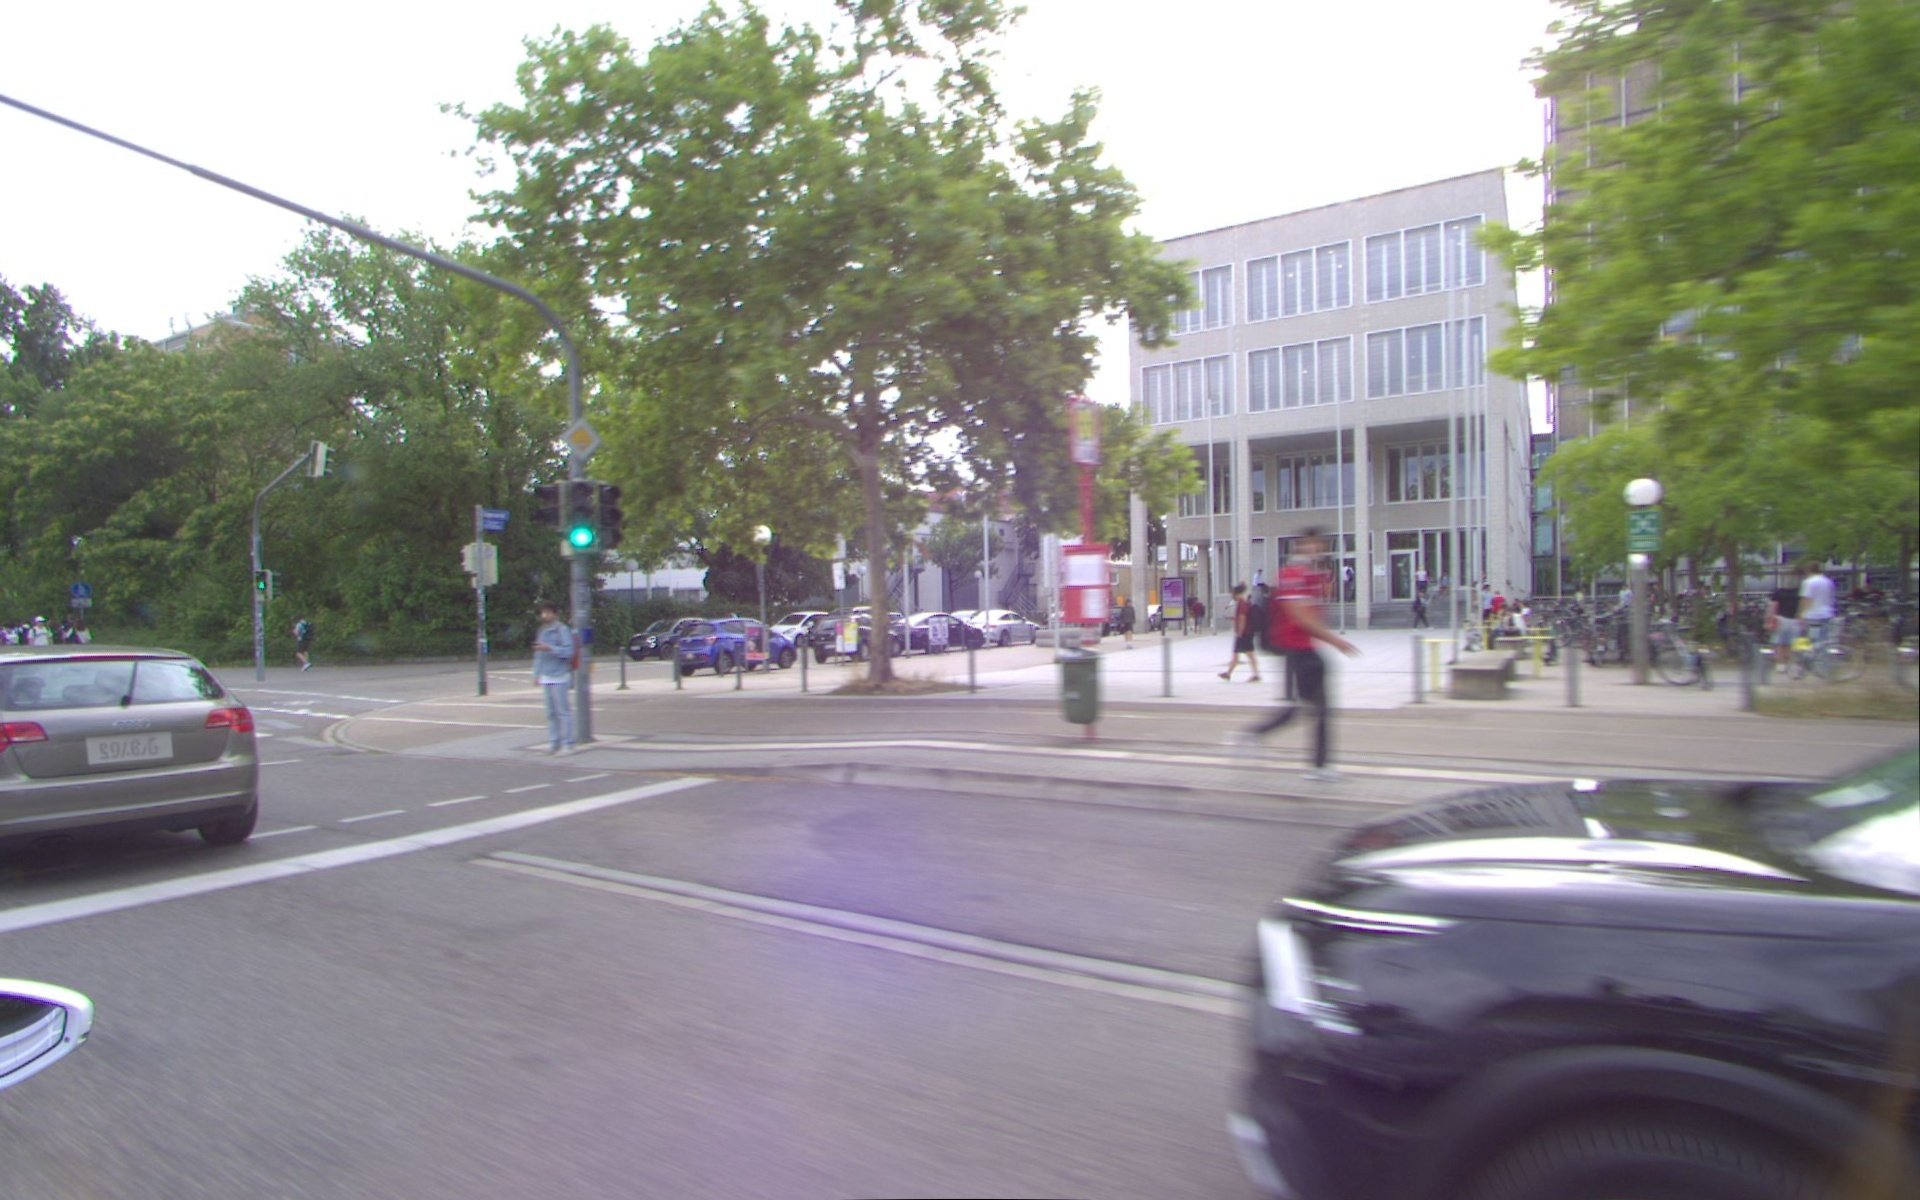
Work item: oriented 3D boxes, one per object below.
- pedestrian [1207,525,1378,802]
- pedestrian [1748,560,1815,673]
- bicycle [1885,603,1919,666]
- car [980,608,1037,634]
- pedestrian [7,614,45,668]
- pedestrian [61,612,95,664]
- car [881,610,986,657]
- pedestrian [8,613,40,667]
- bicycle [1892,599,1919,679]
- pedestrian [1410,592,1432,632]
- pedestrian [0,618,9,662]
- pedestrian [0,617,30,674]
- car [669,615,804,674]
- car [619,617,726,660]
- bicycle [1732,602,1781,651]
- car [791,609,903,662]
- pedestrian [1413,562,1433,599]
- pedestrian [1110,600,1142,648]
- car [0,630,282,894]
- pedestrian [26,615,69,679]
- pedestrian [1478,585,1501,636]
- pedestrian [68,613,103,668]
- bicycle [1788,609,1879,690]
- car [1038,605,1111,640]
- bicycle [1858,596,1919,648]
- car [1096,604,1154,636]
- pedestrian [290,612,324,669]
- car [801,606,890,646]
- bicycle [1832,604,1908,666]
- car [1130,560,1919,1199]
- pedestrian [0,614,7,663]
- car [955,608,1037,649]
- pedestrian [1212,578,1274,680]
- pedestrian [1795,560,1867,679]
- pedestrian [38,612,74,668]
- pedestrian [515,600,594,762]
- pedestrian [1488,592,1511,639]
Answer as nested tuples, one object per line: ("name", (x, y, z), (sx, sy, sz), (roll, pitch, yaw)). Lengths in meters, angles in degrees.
("pedestrian", (2.452, 0.446, 7.369), (1.049, 1.878, 0.724), (-1, 0, 30))
("pedestrian", (14.801, 0.304, 18.048), (0.591, 1.988, 0.686), (0, -1, -7))
("bicycle", (18.691, 0.634, 19.412), (0.708, 1.157, 2.460), (-1, -1, 33))
("car", (2.857, 1.211, 58.579), (1.660, 1.460, 3.764), (-2, -1, 33))
("pedestrian", (-32.071, 1.413, 34.390), (0.944, 1.790, 0.654), (-1, 2, 33))
("pedestrian", (-30.550, 1.311, 34.683), (0.769, 1.768, 0.655), (-1, 0, 33))
("car", (-0.902, 1.177, 36.454), (1.651, 1.587, 4.430), (-2, -1, 32))
("pedestrian", (-30.974, 1.310, 33.134), (0.779, 1.768, 0.579), (-1, 0, 33))
("bicycle", (14.438, 0.554, 14.687), (0.708, 1.157, 2.460), (-1, -1, 33))
("pedestrian", (19.242, 0.514, 41.781), (0.625, 1.661, 0.599), (0, -1, -34))
("pedestrian", (-38.758, 1.611, 40.366), (0.655, 1.787, 0.482), (-1, 1, 36))
("pedestrian", (-29.761, 1.419, 31.433), (0.769, 1.768, 0.622), (-1, 0, 33))
("car", (-6.179, 1.213, 28.013), (1.651, 1.511, 3.564), (-2, -1, 32))
("car", (-10.568, 1.405, 36.988), (1.660, 1.460, 3.563), (-2, -1, 33))
("bicycle", (19.757, 0.632, 24.888), (0.708, 1.157, 2.460), (-1, -1, 33))
("car", (-3.560, 1.102, 32.206), (1.651, 1.587, 3.676), (-2, -1, 32))
("pedestrian", (21.940, -0.911, 47.496), (0.665, 1.736, 0.627), (1, -1, -40))
("pedestrian", (5.996, 0.870, 36.146), (0.944, 1.730, 0.696), (1, -1, -39))
("car", (-6.680, 0.984, 7.250), (3.686, 1.476, 1.719), (-1, -1, 35))
("pedestrian", (-26.798, 1.377, 29.404), (0.815, 1.876, 0.645), (-1, -1, 21))
("pedestrian", (19.659, 0.410, 37.193), (0.592, 1.867, 0.727), (-1, -1, 18))
("pedestrian", (-28.590, 1.315, 32.751), (0.769, 1.768, 0.655), (-1, 0, 33))
("bicycle", (13.463, 0.721, 15.493), (0.708, 1.157, 2.460), (-1, -1, 33))
("car", (5.479, 1.044, 47.470), (1.789, 1.587, 4.207), (-2, -1, 32))
("bicycle", (21.833, 0.500, 23.525), (0.708, 1.157, 2.460), (-1, -1, 33))
("car", (8.784, 1.041, 53.034), (1.651, 1.587, 3.969), (-2, -1, 32))
("pedestrian", (-21.089, 1.297, 32.340), (0.730, 1.819, 0.643), (-1, 0, 33))
("car", (-5.094, 1.140, 45.079), (1.660, 1.714, 4.272), (-2, -1, 33))
("bicycle", (18.010, 0.661, 19.869), (0.708, 1.157, 2.460), (-1, -1, 33))
("car", (2.525, 0.720, 1.446), (4.120, 1.576, 1.795), (-3, -3, 35))
("pedestrian", (-37.186, 1.485, 38.473), (0.801, 1.845, 0.654), (-1, 0, 36))
("car", (1.527, 1.133, 40.810), (1.651, 1.587, 3.813), (-2, -1, 32))
("pedestrian", (5.263, 0.539, 18.589), (0.880, 1.827, 0.764), (-1, -1, 37))
("pedestrian", (14.952, 0.336, 17.204), (0.591, 1.988, 0.686), (0, -1, -7))
("pedestrian", (-29.051, 1.279, 32.180), (0.769, 1.768, 0.655), (-1, 0, 33))
("pedestrian", (-4.778, 0.930, 11.801), (0.673, 1.841, 0.571), (-1, 0, 35))
("pedestrian", (18.812, 0.559, 34.916), (0.592, 1.617, 0.726), (-1, -1, 20))
